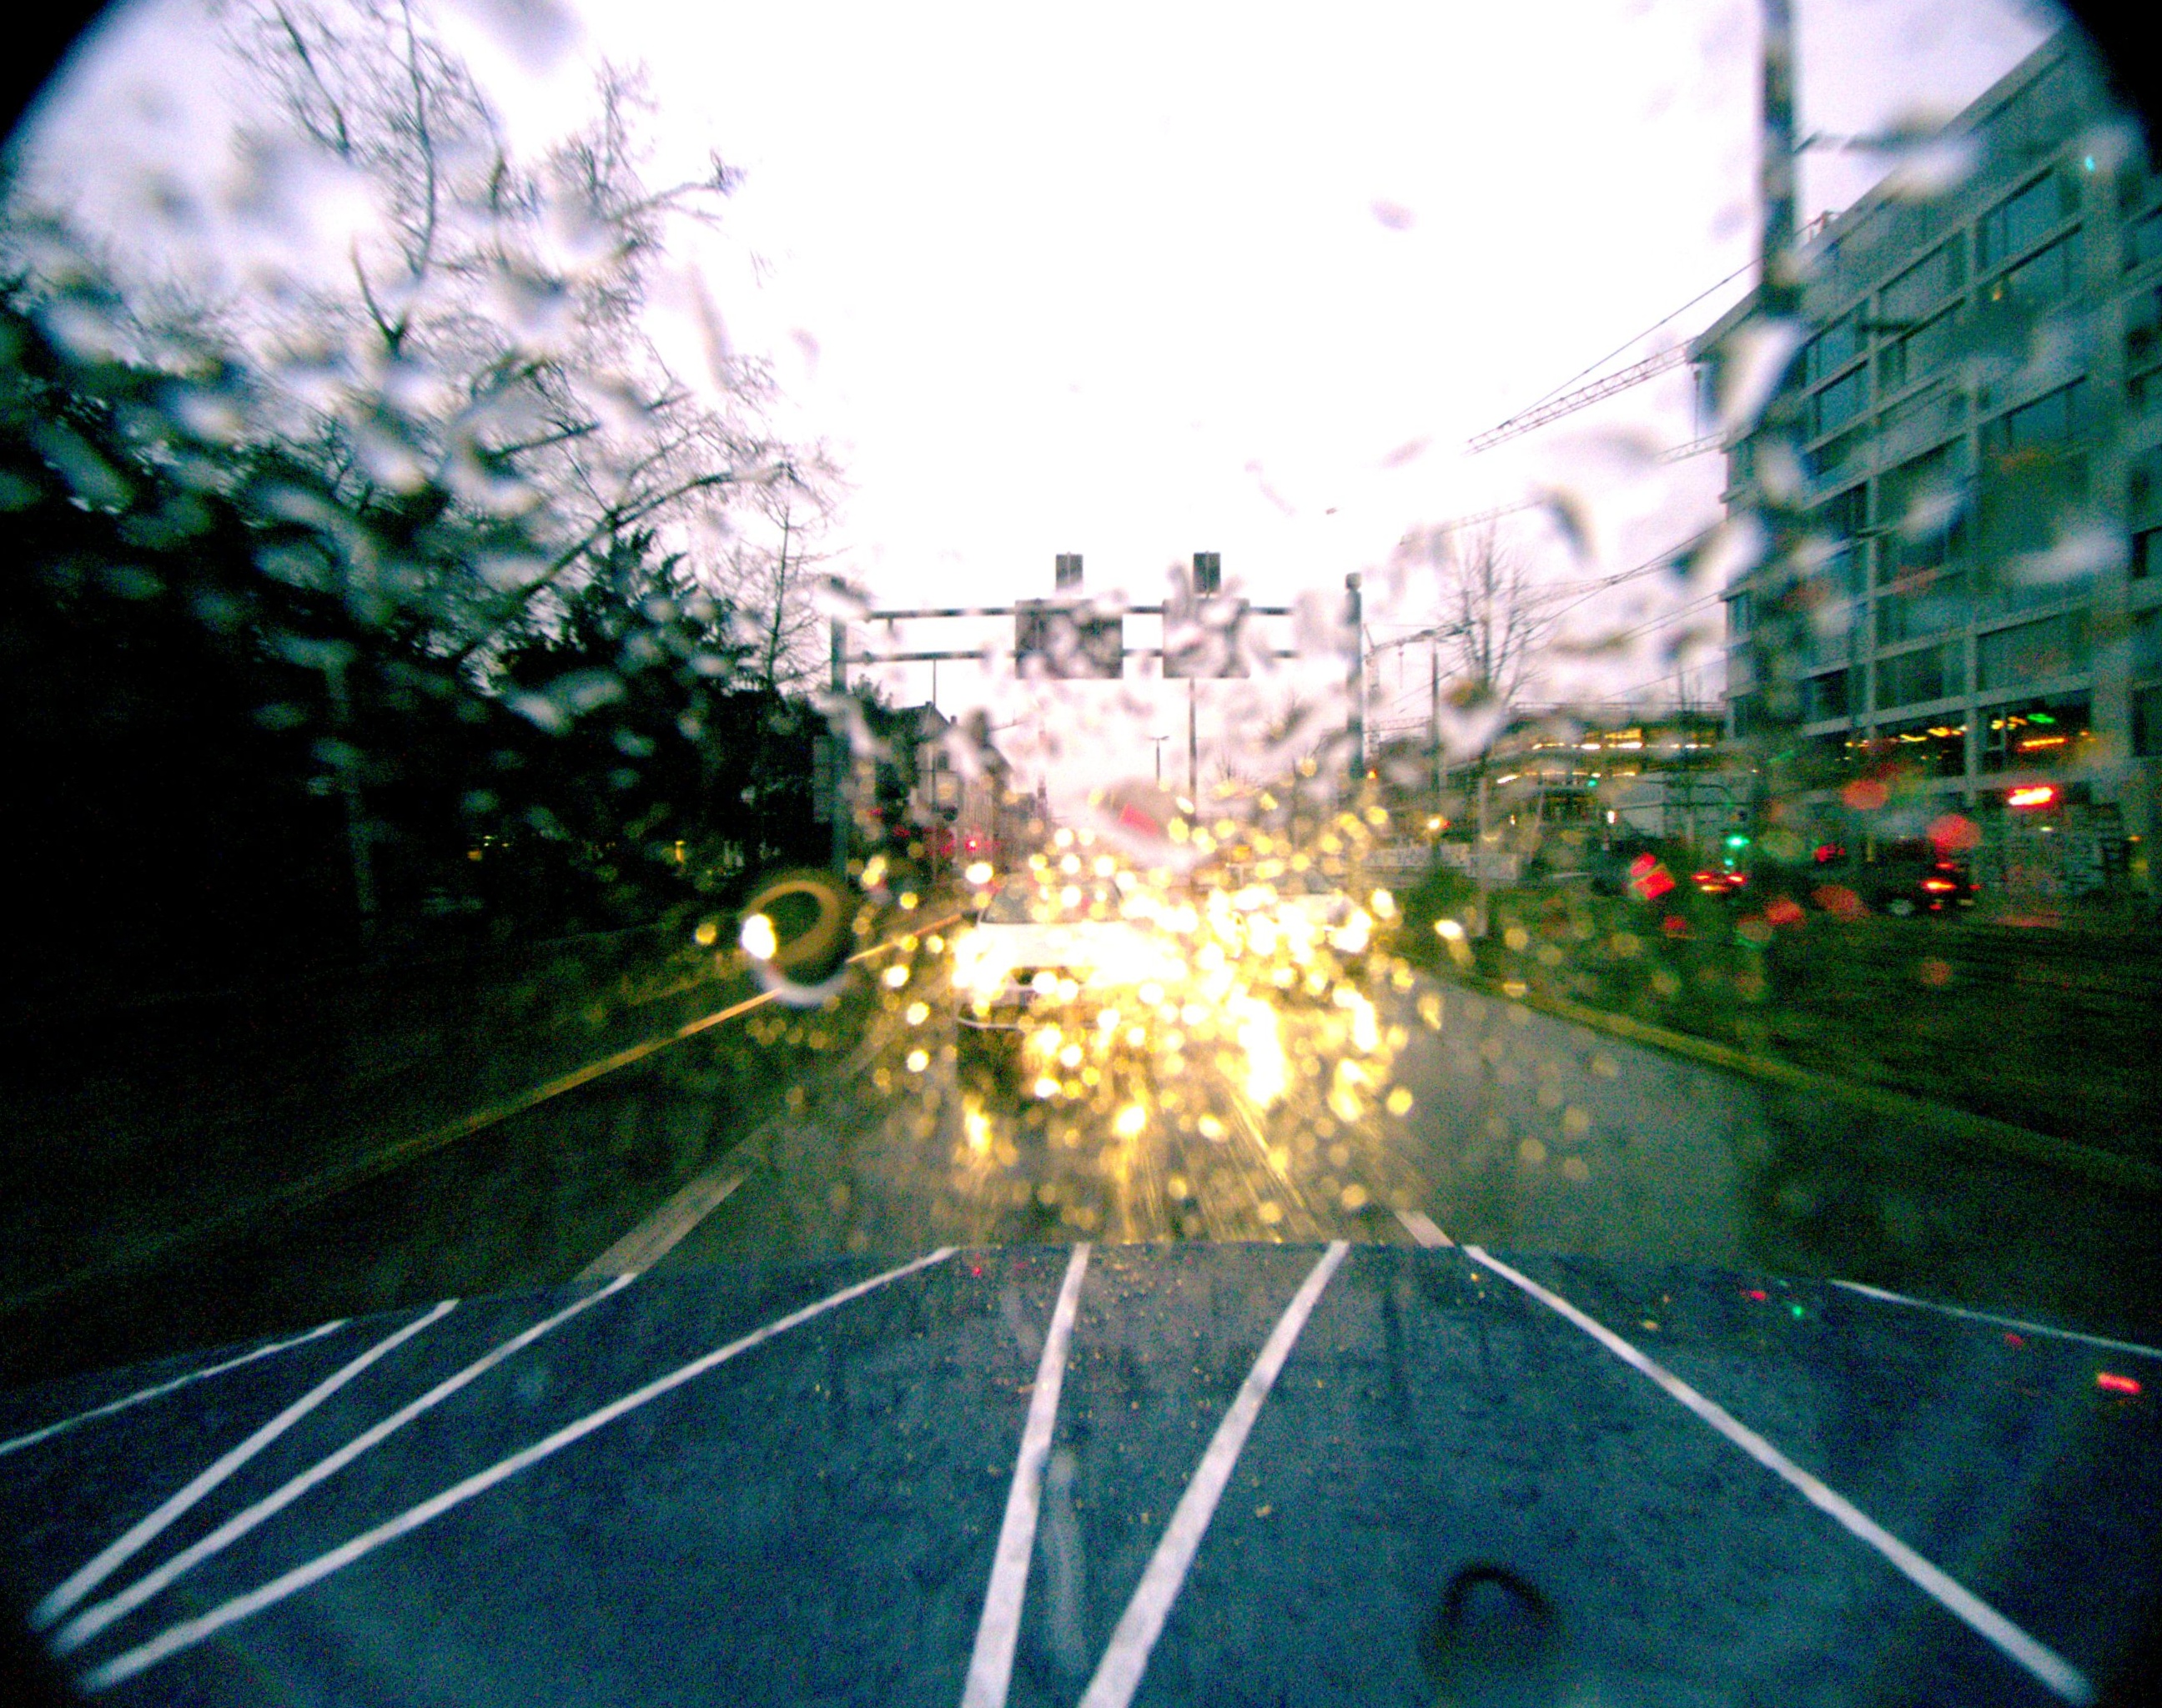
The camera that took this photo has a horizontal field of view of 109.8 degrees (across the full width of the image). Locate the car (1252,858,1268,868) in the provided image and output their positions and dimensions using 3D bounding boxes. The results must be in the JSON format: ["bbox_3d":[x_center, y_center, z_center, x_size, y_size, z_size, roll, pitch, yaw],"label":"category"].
[{"bbox_3d":[30.267,1.541,128.567,1.998,1.556,4.001,0,0,3],"label":"car"}]

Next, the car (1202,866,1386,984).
[{"bbox_3d":[3.007,0.932,11.591,1.767,1.363,3.981,-2,0,2],"label":"car"}]

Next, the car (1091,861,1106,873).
[{"bbox_3d":[2.210,1.606,97.215,1.767,1.363,3.981,-2,0,-1],"label":"car"}]

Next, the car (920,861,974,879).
[{"bbox_3d":[-10.771,1.288,61.155,4.004,1.403,1.874,0,0,-20],"label":"car"}]

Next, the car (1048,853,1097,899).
[{"bbox_3d":[-0.322,0.831,30.578,1.781,1.666,3.981,-2,0,0],"label":"car"}]

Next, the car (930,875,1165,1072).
[{"bbox_3d":[-0.267,0.990,7.932,1.798,1.363,3.981,-2,0,0],"label":"car"}]

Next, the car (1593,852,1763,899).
[{"bbox_3d":[20.294,0.686,26.193,1.998,1.459,5.034,0,0,1],"label":"car"}]

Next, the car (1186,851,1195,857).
[{"bbox_3d":[32.915,-0.093,227.935,1.999,1.812,3.999,0,0,-3],"label":"car"}]

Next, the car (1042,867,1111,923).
[{"bbox_3d":[-0.120,1.097,21.645,1.728,1.318,3.981,-2,0,0],"label":"car"}]

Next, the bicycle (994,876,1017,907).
[{"bbox_3d":[-2.645,1.301,26.799,0.647,0.961,2.046,0,0,-1],"label":"bicycle"}]

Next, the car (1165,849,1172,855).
[{"bbox_3d":[29.280,-0.770,255.291,1.998,2.002,4.000,0,0,1],"label":"car"}]

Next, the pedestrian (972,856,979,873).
[{"bbox_3d":[-9.632,0.954,69.478,0.521,1.501,0.588,0,0,1],"label":"pedestrian"}]

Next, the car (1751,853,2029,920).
[{"bbox_3d":[20.301,0.747,19.394,2.001,1.488,4.444,-1,0,-15],"label":"car"}]

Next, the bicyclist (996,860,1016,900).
[{"bbox_3d":[-2.638,0.910,26.775,0.647,1.381,0.890,0,0,-1],"label":"bicyclist"}]

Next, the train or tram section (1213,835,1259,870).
[{"bbox_3d":[16.706,-0.130,83.027,2.964,3.466,14.269,0,0,3],"label":"train or tram section"}]
